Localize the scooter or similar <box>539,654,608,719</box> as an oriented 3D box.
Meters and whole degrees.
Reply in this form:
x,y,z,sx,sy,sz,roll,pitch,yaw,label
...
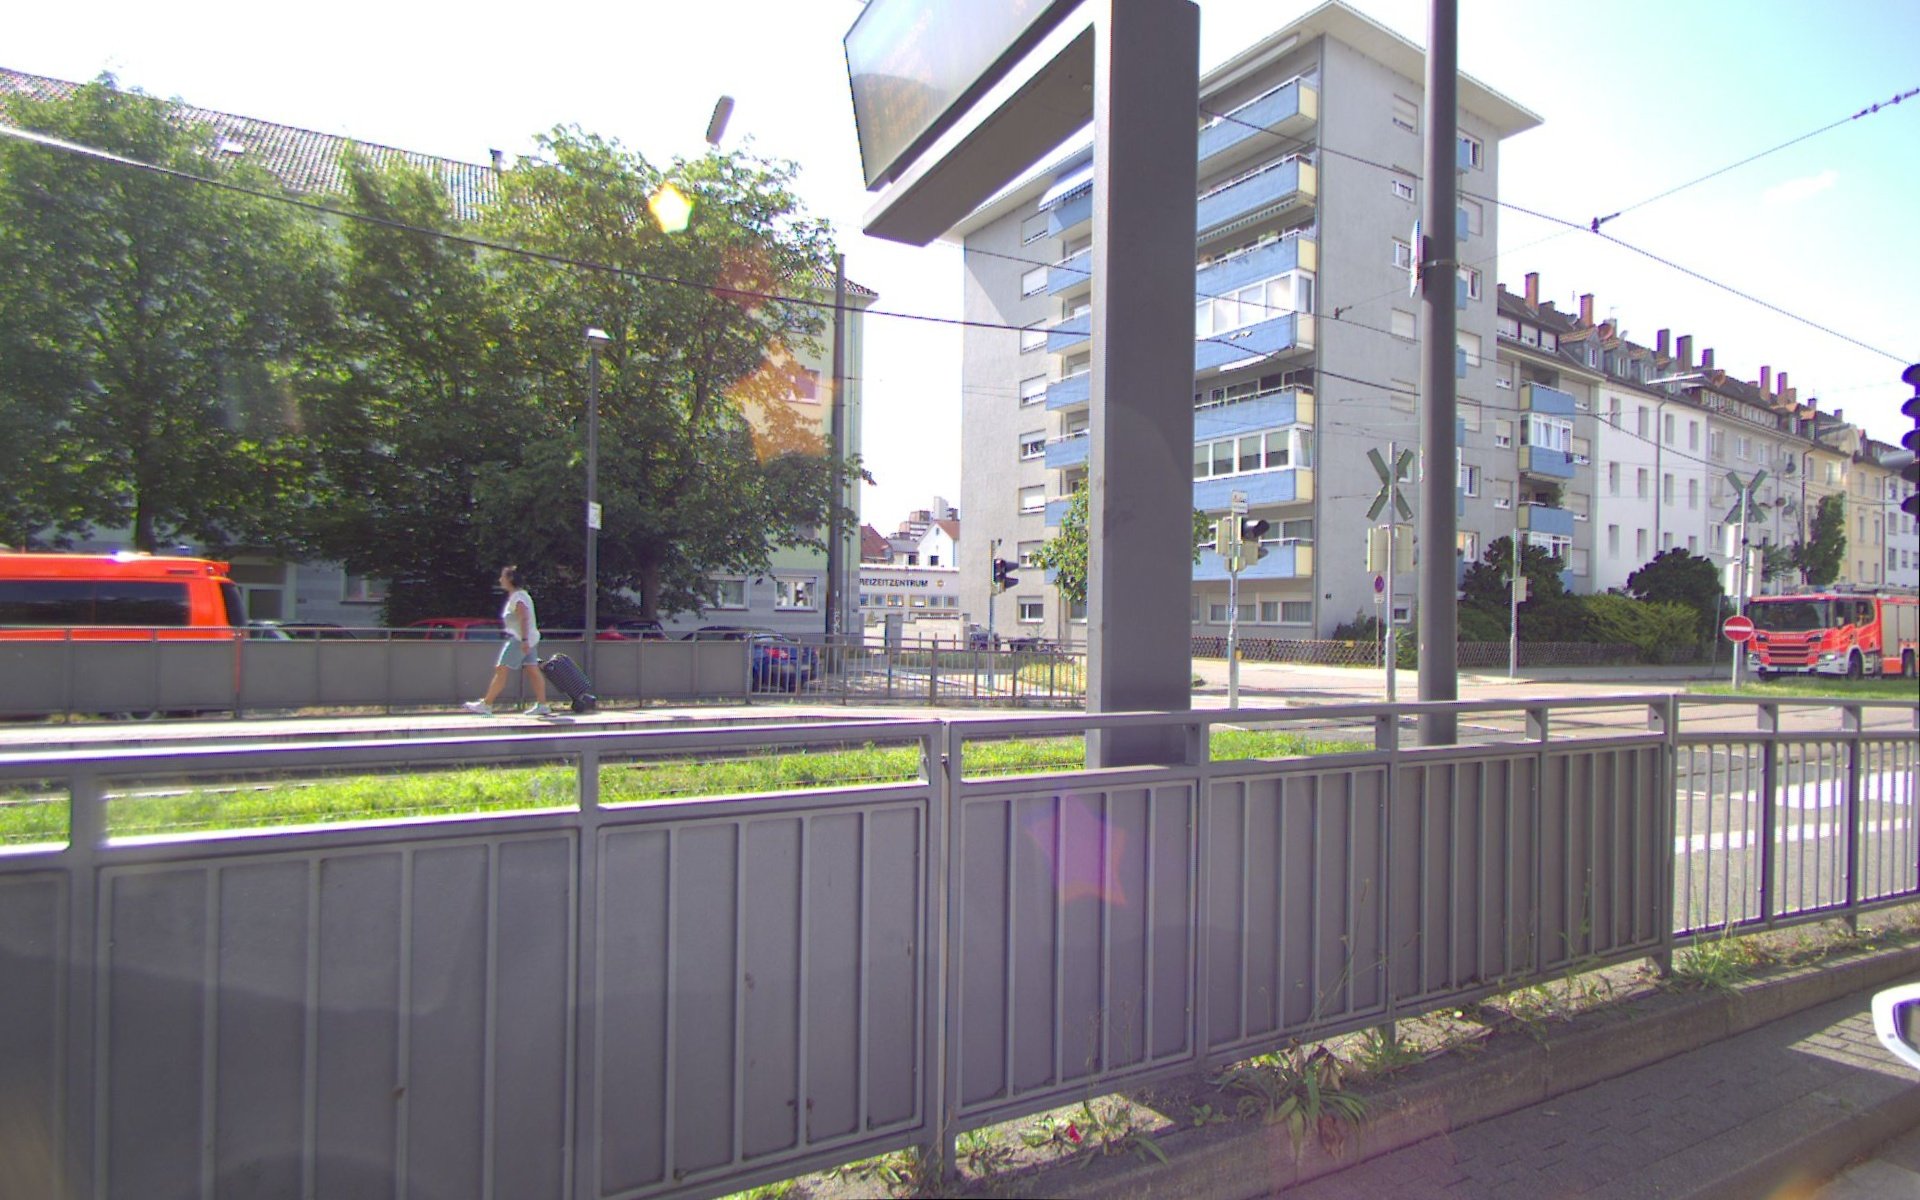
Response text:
x,y,z,sx,sy,sz,roll,pitch,yaw,label
-4.460,0.990,11.589,0.692,0.708,0.440,1,-1,-29,scooter or similar

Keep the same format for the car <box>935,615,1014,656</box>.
x,y,z,sx,sy,sz,roll,pitch,yaw,label
0.648,1.640,47.551,1.976,1.706,3.968,2,0,-30,car

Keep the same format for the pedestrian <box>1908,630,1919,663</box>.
x,y,z,sx,sy,sz,roll,pitch,yaw,label
53.624,2.619,56.185,0.857,1.817,0.700,1,-1,-36,pedestrian

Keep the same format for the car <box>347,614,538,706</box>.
x,y,z,sx,sy,sz,roll,pitch,yaw,label
-9.981,1.086,19.327,3.603,1.600,1.645,0,-1,32,car

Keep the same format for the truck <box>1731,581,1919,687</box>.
x,y,z,sx,sy,sz,roll,pitch,yaw,label
29.630,1.163,33.937,8.282,3.228,2.584,2,0,-30,truck

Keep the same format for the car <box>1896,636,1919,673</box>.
x,y,z,sx,sy,sz,roll,pitch,yaw,label
47.369,2.665,48.786,3.960,1.734,1.981,2,0,-35,car

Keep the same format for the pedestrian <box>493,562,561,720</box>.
x,y,z,sx,sy,sz,roll,pitch,yaw,label
-4.830,0.450,11.195,0.624,1.686,0.657,1,-1,-29,pedestrian

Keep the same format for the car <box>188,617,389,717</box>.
x,y,z,sx,sy,sz,roll,pitch,yaw,label
-12.057,1.120,18.004,3.603,1.600,1.645,0,-1,32,car

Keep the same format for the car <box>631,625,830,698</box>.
x,y,z,sx,sy,sz,roll,pitch,yaw,label
-4.984,1.276,21.813,4.055,1.413,1.608,0,-1,24,car

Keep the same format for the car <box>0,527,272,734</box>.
x,y,z,sx,sy,sz,roll,pitch,yaw,label
-11.272,0.375,11.999,4.774,2.305,1.986,1,-3,-29,car
